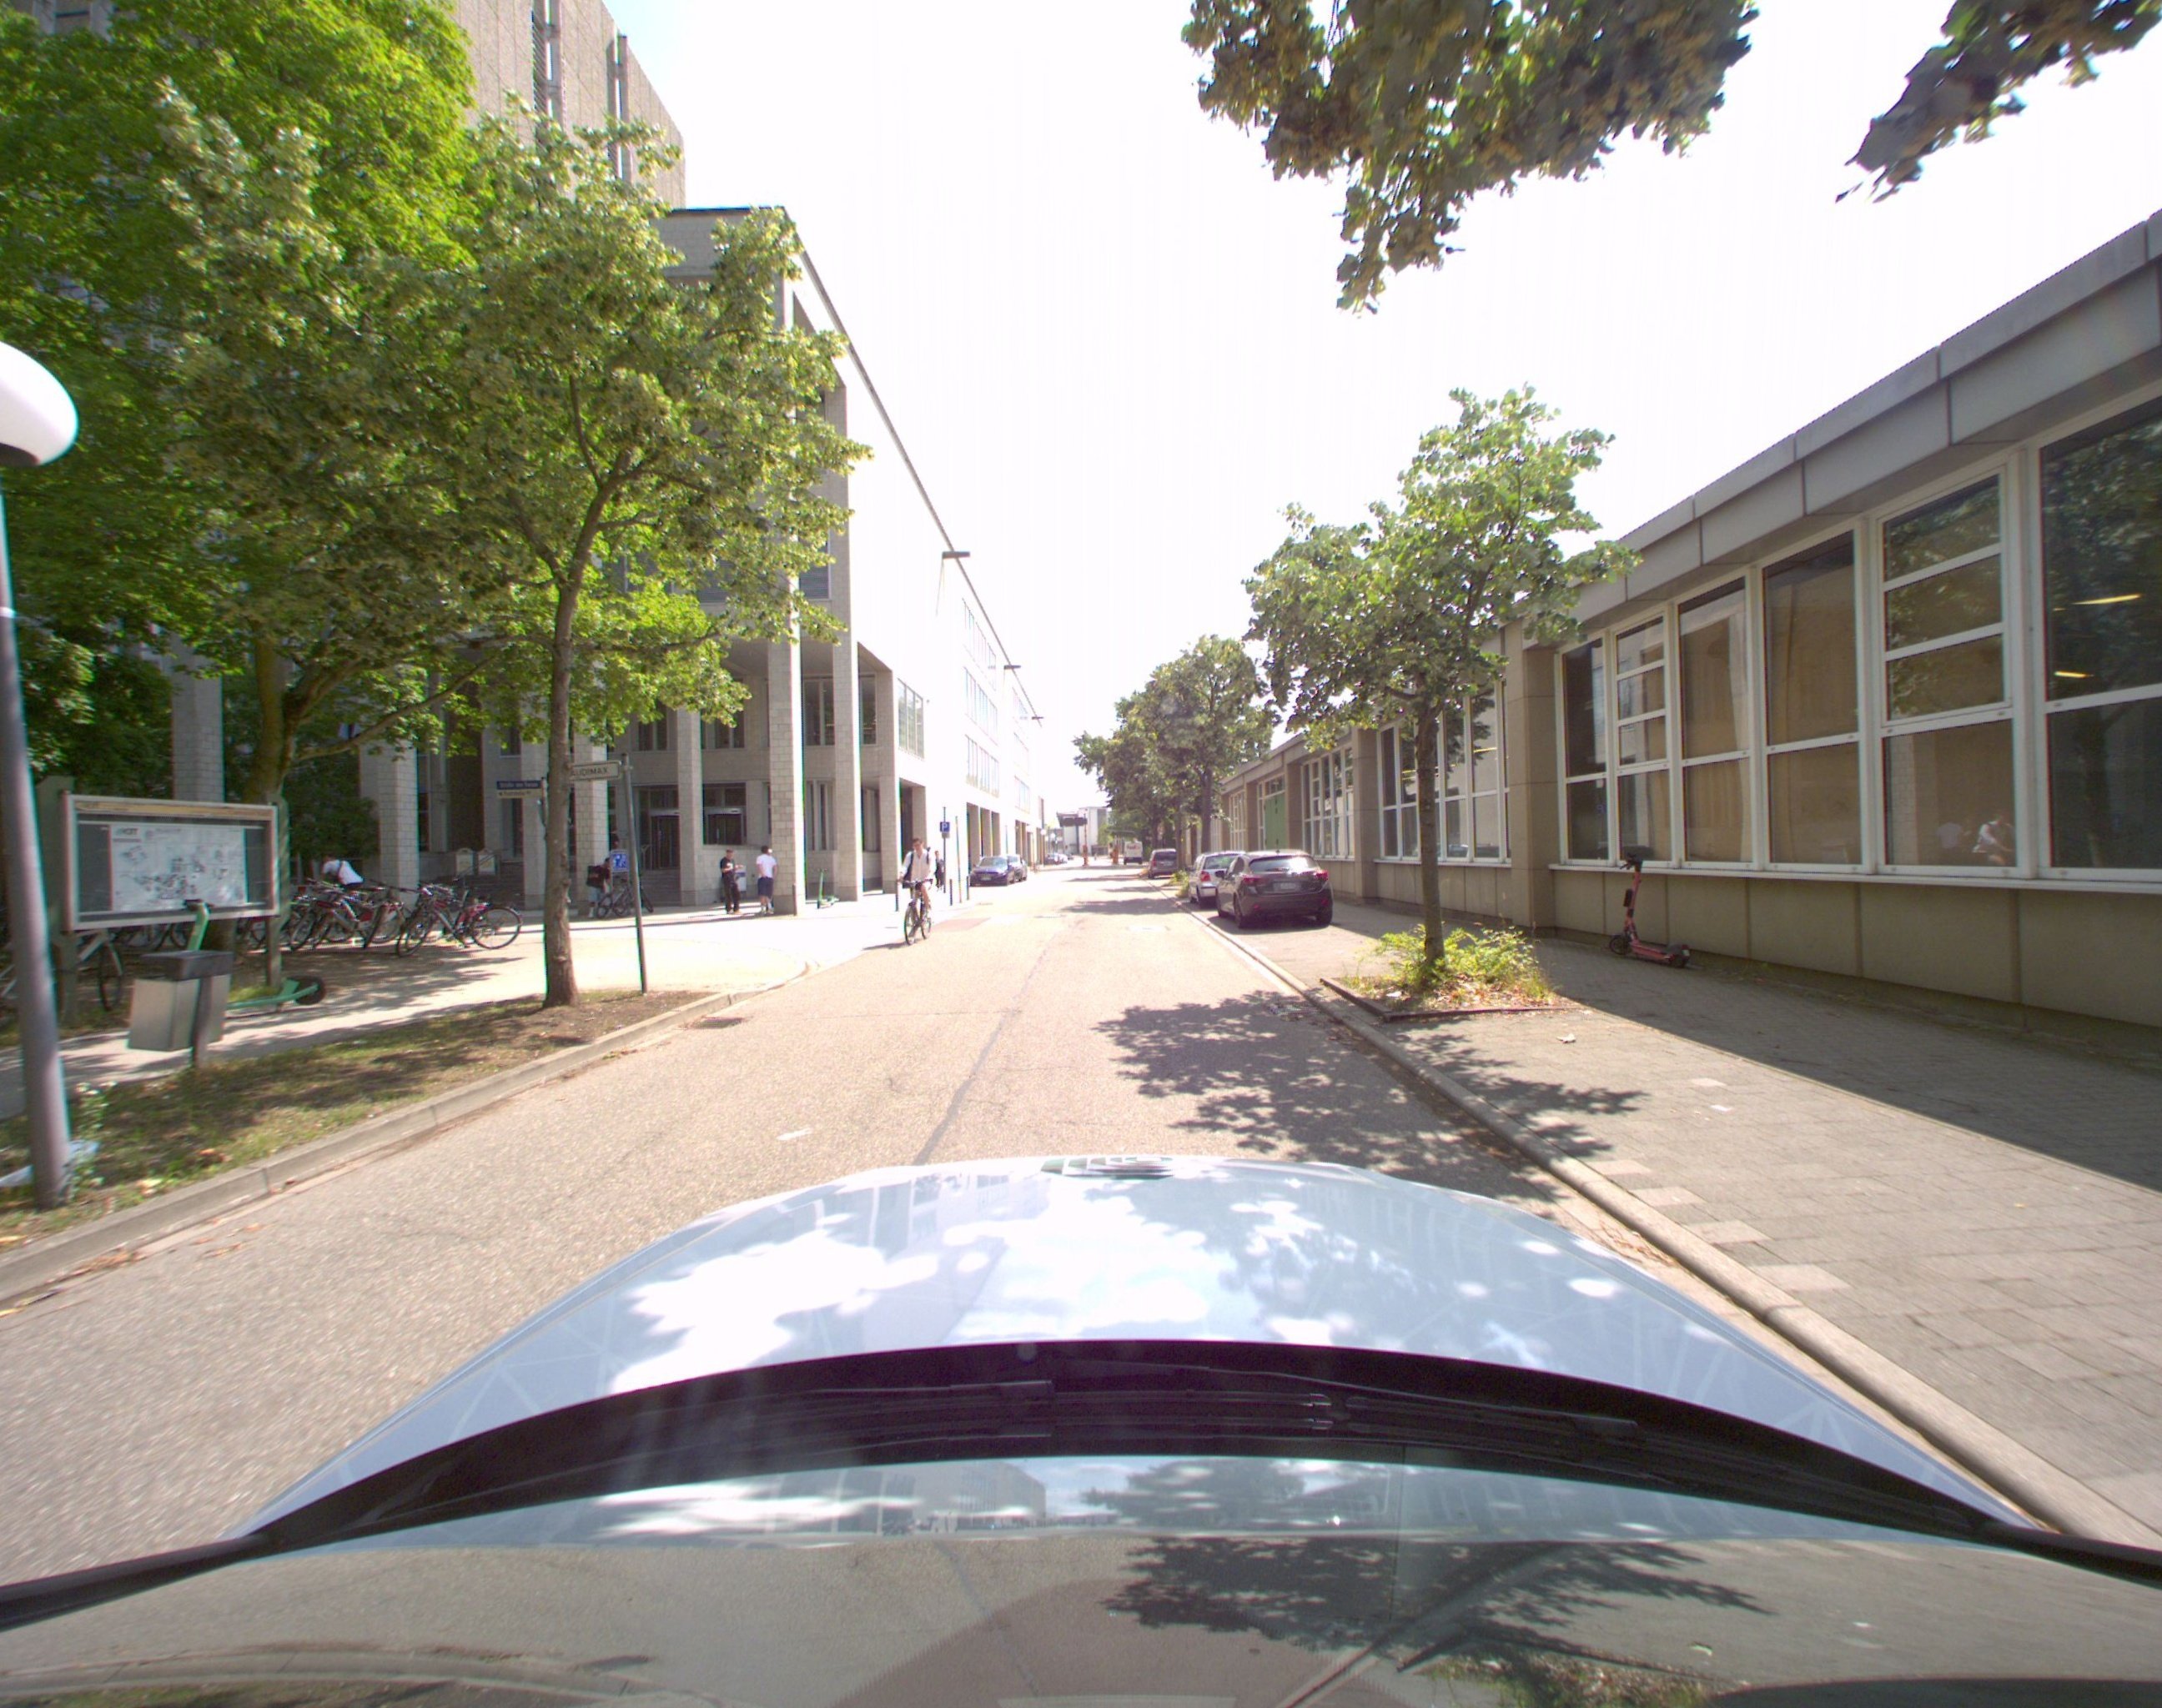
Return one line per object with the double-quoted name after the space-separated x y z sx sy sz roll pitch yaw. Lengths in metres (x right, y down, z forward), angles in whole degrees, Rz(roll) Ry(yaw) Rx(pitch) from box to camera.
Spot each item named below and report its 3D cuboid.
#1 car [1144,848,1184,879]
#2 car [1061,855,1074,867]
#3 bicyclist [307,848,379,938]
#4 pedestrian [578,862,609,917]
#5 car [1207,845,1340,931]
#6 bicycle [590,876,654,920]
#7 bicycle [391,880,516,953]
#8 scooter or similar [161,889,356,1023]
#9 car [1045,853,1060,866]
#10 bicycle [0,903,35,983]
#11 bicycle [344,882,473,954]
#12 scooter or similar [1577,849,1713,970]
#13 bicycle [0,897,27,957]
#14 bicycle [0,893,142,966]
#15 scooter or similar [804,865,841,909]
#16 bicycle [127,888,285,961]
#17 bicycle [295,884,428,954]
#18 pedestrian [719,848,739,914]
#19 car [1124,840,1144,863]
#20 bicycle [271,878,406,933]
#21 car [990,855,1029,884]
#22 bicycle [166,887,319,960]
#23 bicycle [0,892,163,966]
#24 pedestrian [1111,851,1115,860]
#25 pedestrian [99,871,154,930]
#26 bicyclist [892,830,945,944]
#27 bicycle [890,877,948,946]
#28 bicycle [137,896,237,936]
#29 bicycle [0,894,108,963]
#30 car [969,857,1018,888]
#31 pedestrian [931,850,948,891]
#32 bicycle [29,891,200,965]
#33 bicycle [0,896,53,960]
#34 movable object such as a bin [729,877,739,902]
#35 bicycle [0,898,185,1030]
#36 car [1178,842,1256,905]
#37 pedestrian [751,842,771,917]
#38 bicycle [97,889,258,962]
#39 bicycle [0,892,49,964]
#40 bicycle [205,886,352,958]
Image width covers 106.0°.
4.518 0.501 44.804 1.851 1.574 4.002 -3 0 2 "car"
-1.906 1.034 117.916 1.640 1.498 3.729 -2 -2 1 "car"
-17.138 0.887 18.924 0.841 2.013 0.879 -1 0 12 "bicyclist"
-12.821 0.934 21.423 0.465 1.383 0.443 -2 3 -8 "pedestrian"
3.844 0.612 16.997 1.774 1.476 4.463 -3 0 2 "car"
-12.234 1.159 21.773 0.462 1.014 1.868 0 2 6 "bicycle"
-10.683 1.029 13.961 0.550 1.086 1.974 0 0 2 "bicycle"
-8.203 0.971 8.173 0.335 1.175 1.337 -1 0 37 "scooter or similar"
-3.715 0.716 106.017 1.640 1.498 3.729 -2 -2 1 "car"
-13.484 1.113 9.554 0.475 0.965 1.651 -1 0 -9 "bicycle"
-11.624 1.067 14.171 0.550 1.086 1.974 0 0 2 "bicycle"
6.376 0.586 9.294 0.509 1.249 1.486 -3 0 2 "scooter or similar"
-20.131 1.353 14.336 0.550 1.086 1.974 0 0 2 "bicycle"
-17.813 1.272 14.195 0.550 1.086 1.974 0 0 2 "bicycle"
-7.651 0.966 24.196 0.452 1.223 1.551 -1 0 5 "scooter or similar"
-15.050 1.178 14.097 0.550 1.086 1.974 0 0 2 "bicycle"
-12.723 1.113 14.488 0.550 1.086 1.974 0 0 2 "bicycle"
-9.605 0.727 22.220 0.443 1.775 0.447 -1 0 -29 "pedestrian"
5.889 -0.269 90.900 2.076 2.539 4.317 -1 0 1 "car"
-17.270 1.183 18.954 2.722 1.199 0.888 -1 0 12 "bicycle"
-3.953 0.844 45.832 1.624 1.485 4.180 -1 0 2 "car"
-14.444 1.158 14.114 0.550 1.086 1.974 0 0 2 "bicycle"
-17.242 1.248 14.028 0.550 1.086 1.974 0 0 2 "bicycle"
5.791 0.286 148.382 0.604 1.619 0.682 -1 0 0 "pedestrian"
-26.871 1.294 22.929 0.824 1.593 0.598 -1 0 3 "pedestrian"
-3.023 0.596 15.244 0.709 2.013 1.018 -3 0 -1 "bicyclist"
-3.012 1.040 15.339 0.683 1.130 1.888 -2 0 0 "bicycle"
-24.636 1.695 22.503 0.523 0.946 1.994 -1 0 1 "bicycle"
-18.424 1.292 14.180 0.550 1.086 1.974 0 0 2 "bicycle"
-4.297 0.868 40.599 1.759 1.427 4.238 -1 0 3 "car"
-6.052 0.694 34.836 0.649 1.701 0.886 -1 0 -9 "pedestrian"
-16.544 1.225 14.028 0.550 1.086 1.974 0 0 2 "bicycle"
-19.357 1.320 14.102 0.550 1.086 1.974 0 0 2 "bicycle"
-12.448 1.278 29.252 0.168 0.895 0.448 -1 0 -4 "movable object such as a bin"
-9.483 0.979 7.659 0.382 1.025 1.808 -1 0 -10 "bicycle"
3.653 0.489 22.391 1.610 1.538 3.781 -1 0 2 "car"
-8.446 0.658 21.507 0.415 1.942 0.657 0 0 -27 "pedestrian"
-15.696 1.204 14.236 0.550 1.086 1.974 0 0 2 "bicycle"
-16.121 1.097 11.579 0.473 1.032 1.851 -1 0 2 "bicycle"
-13.878 1.141 14.170 0.550 1.086 1.974 0 0 2 "bicycle"
